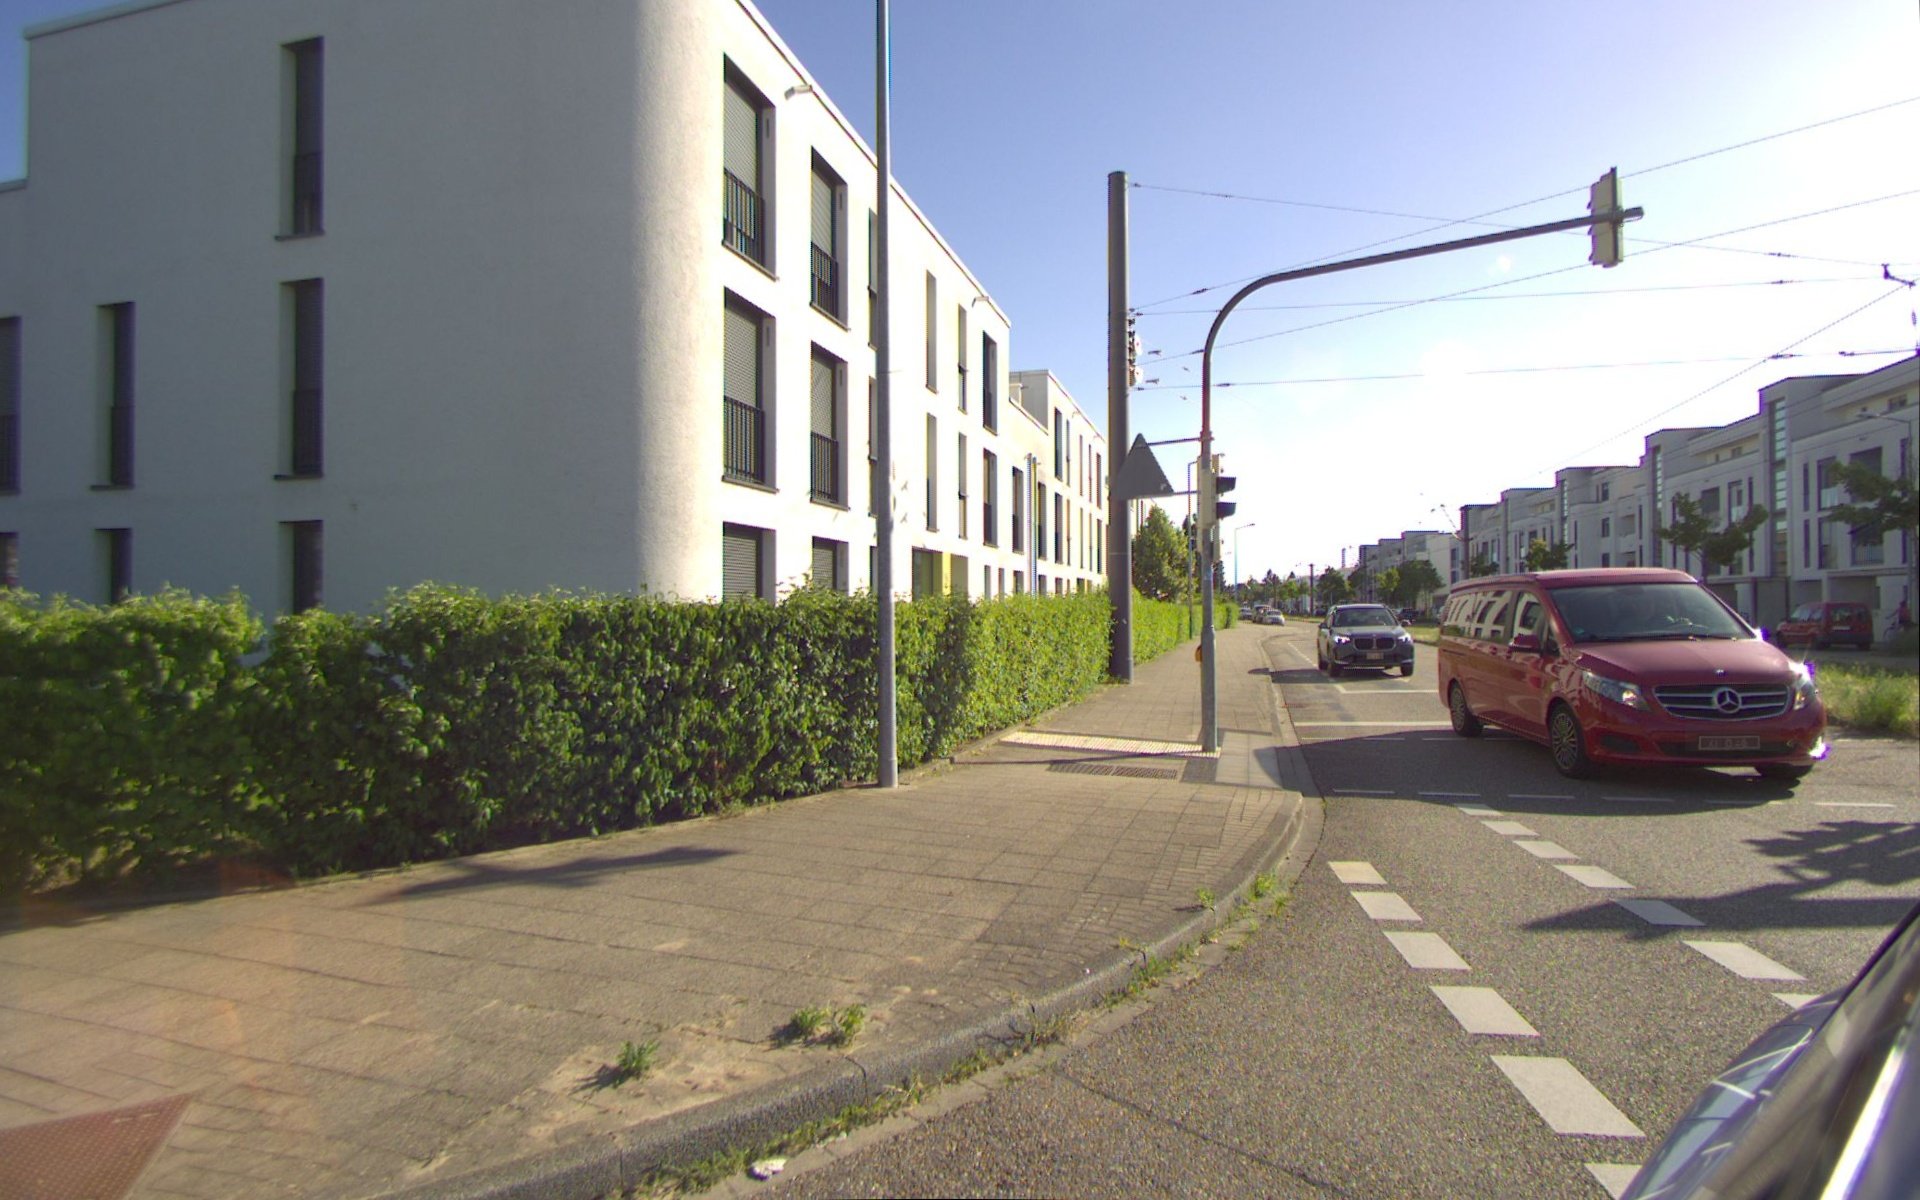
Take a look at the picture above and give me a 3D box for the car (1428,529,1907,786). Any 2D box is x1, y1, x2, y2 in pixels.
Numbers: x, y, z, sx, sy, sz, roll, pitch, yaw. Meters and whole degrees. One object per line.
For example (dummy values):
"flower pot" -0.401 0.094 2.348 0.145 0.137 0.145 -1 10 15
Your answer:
"car" 6.765 0.515 10.598 2.095 1.995 5.066 -2 -1 11

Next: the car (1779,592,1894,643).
"car" 32.261 0.617 37.373 1.771 1.745 3.886 1 0 17

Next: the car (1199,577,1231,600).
"car" 29.547 -1.286 117.172 3.142 2.376 6.140 -3 -1 17

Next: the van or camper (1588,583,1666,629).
"van or camper" 37.512 0.337 57.076 2.168 2.496 5.233 0 0 16

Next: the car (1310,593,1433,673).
"car" 9.720 0.723 24.251 1.970 1.694 4.391 -2 0 13

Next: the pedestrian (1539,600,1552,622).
"pedestrian" 45.797 0.870 79.194 0.609 1.664 0.611 -2 -1 10

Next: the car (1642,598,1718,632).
"car" 35.776 0.723 50.407 1.908 1.633 3.816 0 0 16

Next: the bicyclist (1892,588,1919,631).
"bicyclist" 34.319 0.341 36.416 0.878 1.509 0.743 0 -1 11

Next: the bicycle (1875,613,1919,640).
"bicycle" 34.327 0.946 36.439 0.888 0.903 2.475 0 0 11

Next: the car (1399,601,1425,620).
"car" 51.735 1.206 115.900 1.761 2.039 3.984 -3 -1 13
